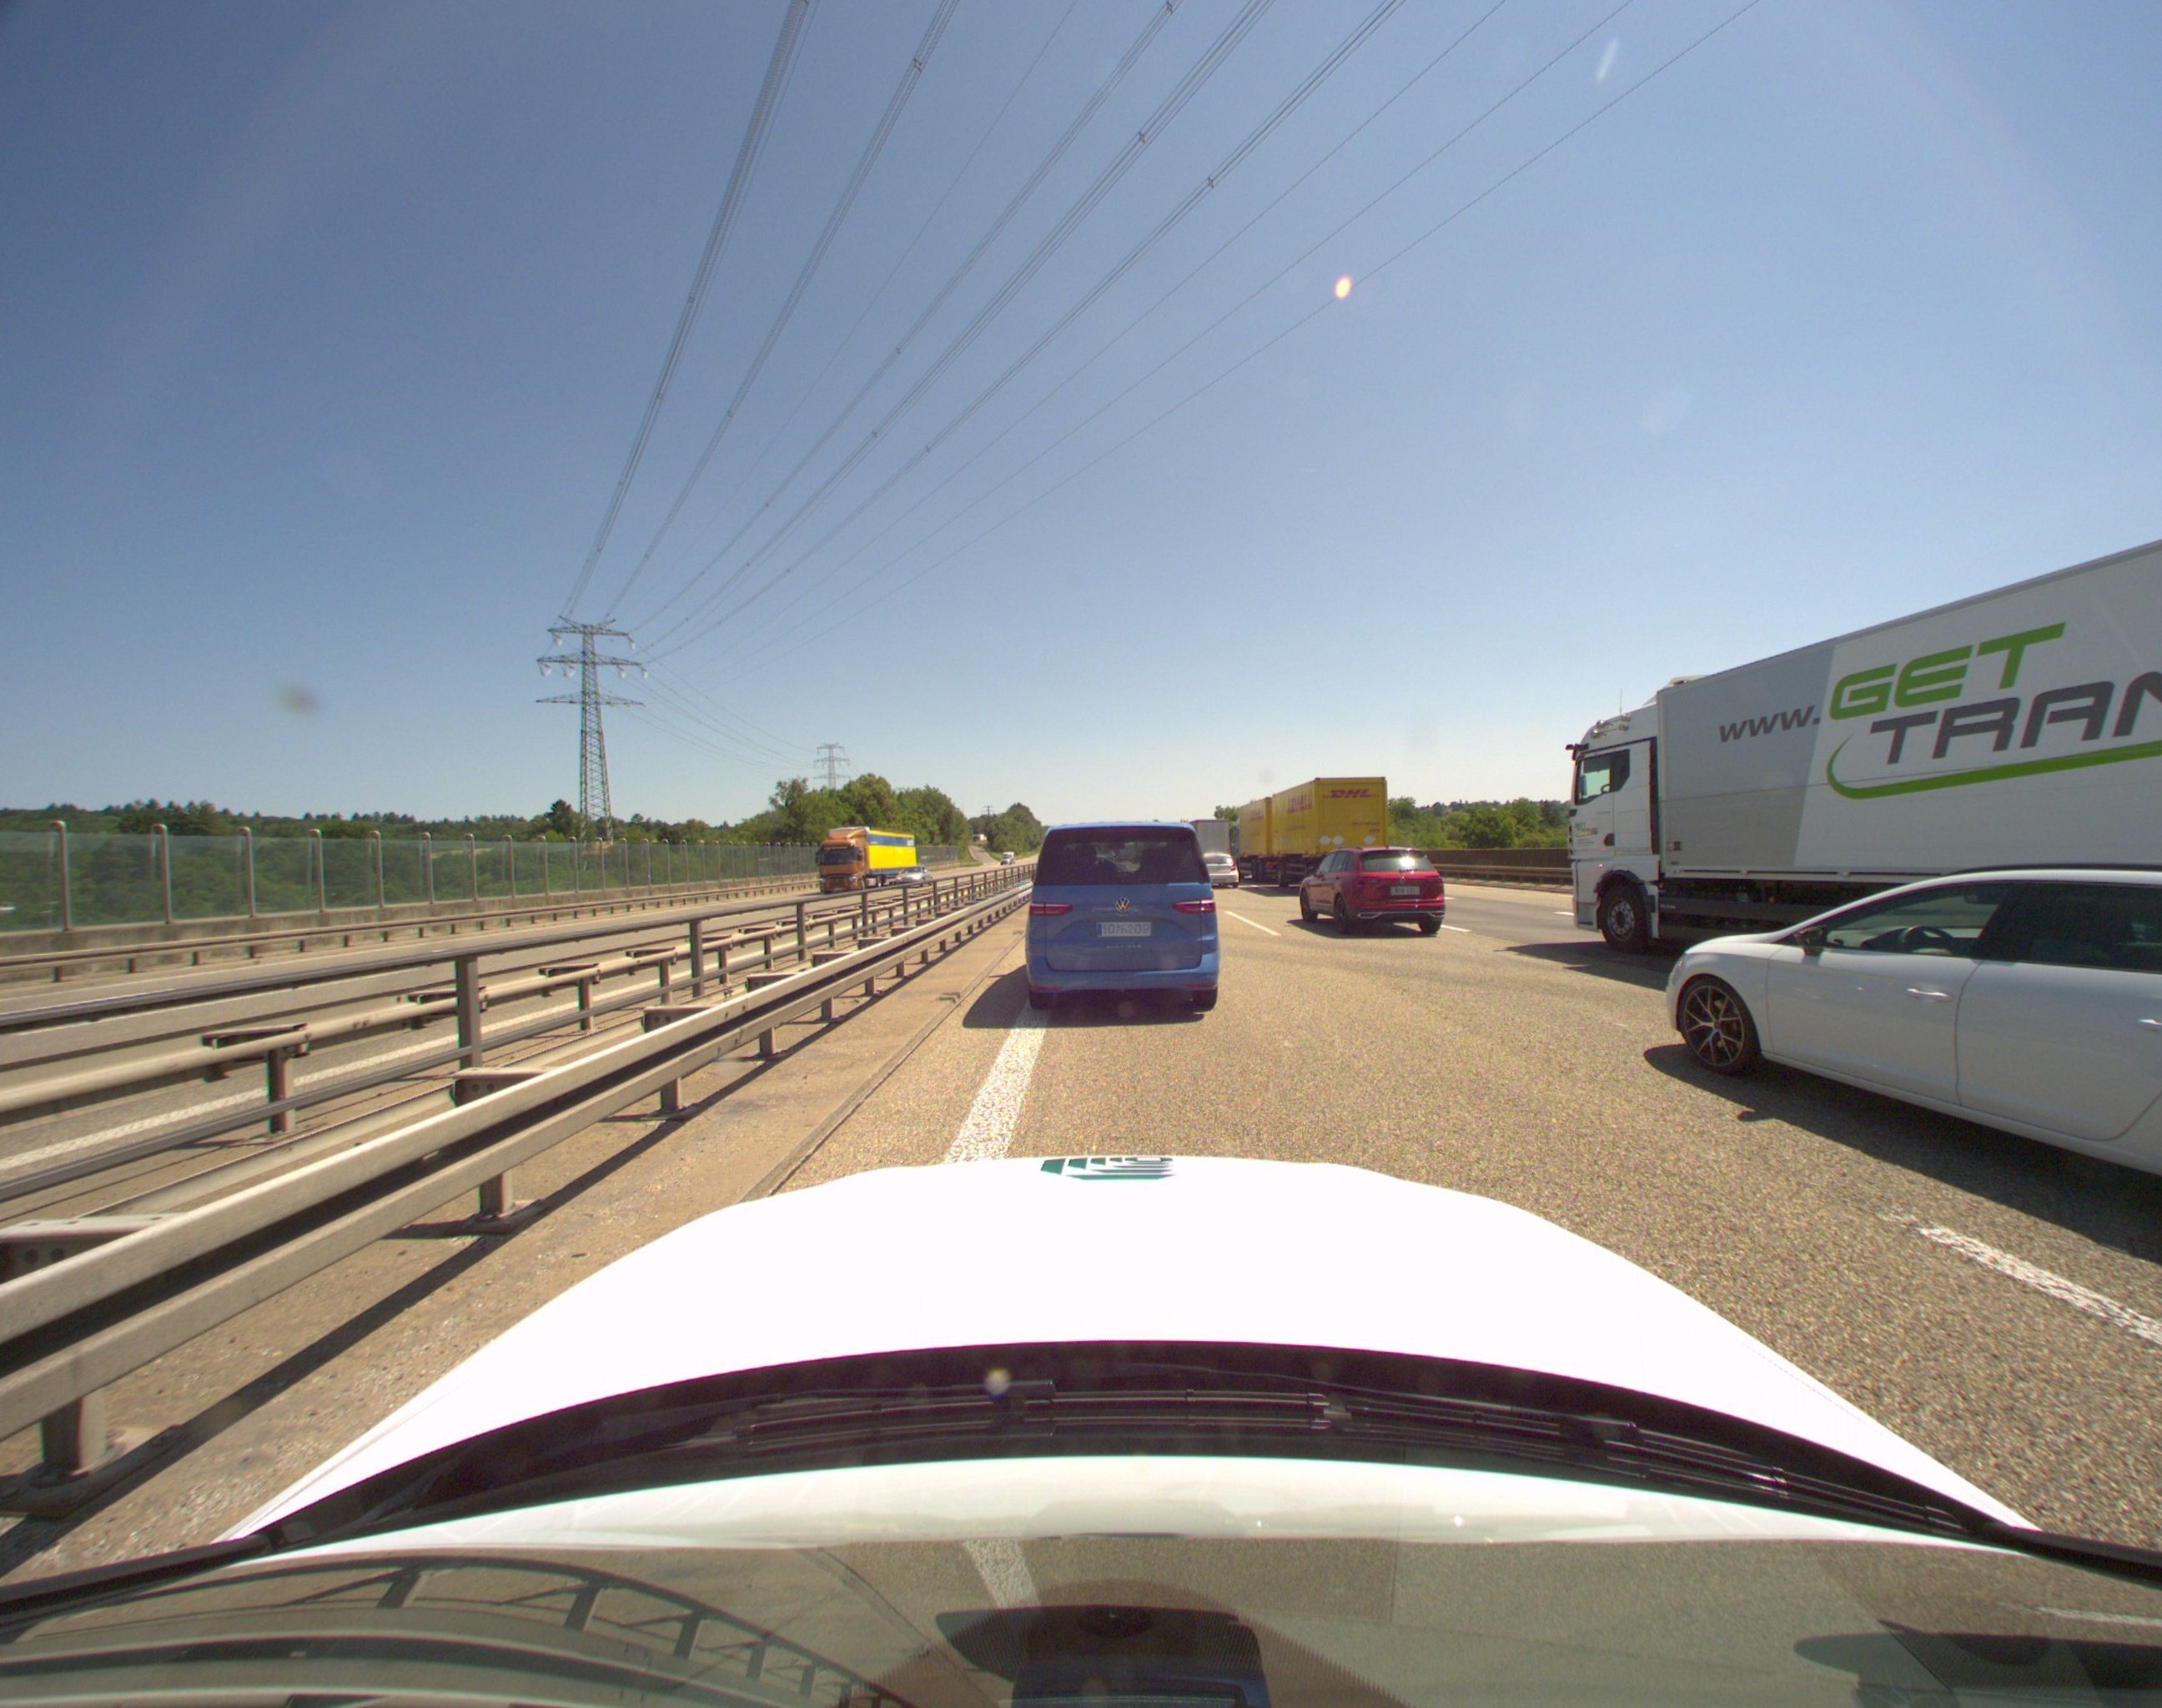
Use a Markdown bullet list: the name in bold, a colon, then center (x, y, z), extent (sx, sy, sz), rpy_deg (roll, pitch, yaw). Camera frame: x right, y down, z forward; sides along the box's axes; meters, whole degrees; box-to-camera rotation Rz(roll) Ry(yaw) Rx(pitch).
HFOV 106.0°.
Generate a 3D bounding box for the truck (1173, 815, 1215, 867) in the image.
- **truck**: center (10.527, -1.099, 76.703), extent (3.015, 4.611, 7.924), rpy_deg (-1, -1, 2)

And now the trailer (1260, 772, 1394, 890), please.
- **trailer**: center (9.490, -0.758, 32.645), extent (2.674, 4.088, 8.979), rpy_deg (0, -1, 0)

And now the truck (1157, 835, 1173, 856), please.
- **truck**: center (11.176, -1.090, 108.303), extent (1.790, 2.596, 4.307), rpy_deg (-1, -1, 2)

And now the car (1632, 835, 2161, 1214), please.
- **car**: center (5.005, 0.642, 3.983), extent (1.702, 1.451, 4.430), rpy_deg (-1, 0, 1)

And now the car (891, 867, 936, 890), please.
- **car**: center (-10.884, 1.566, 53.130), extent (1.681, 1.303, 4.017), rpy_deg (-4, -1, 5)

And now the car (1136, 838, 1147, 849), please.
- **car**: center (11.766, -2.095, 159.169), extent (1.986, 2.014, 4.001), rpy_deg (-1, -1, 2)

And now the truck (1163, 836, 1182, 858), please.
- **truck**: center (10.539, -0.773, 94.290), extent (1.791, 2.449, 4.506), rpy_deg (-1, -1, 2)

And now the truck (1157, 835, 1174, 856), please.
- **truck**: center (10.672, -1.044, 103.108), extent (1.735, 2.549, 4.211), rpy_deg (-1, -1, 2)

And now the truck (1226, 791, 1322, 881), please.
- **truck**: center (9.677, -0.758, 42.144), extent (2.690, 4.088, 9.939), rpy_deg (-1, -1, 1)

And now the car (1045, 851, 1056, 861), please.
- **car**: center (-5.719, 0.402, 154.859), extent (1.835, 1.751, 3.945), rpy_deg (-1, -1, 2)

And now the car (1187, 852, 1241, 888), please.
- **car**: center (5.786, 0.694, 35.833), extent (1.809, 1.470, 3.933), rpy_deg (-1, -1, 1)

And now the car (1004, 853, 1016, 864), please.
- **car**: center (-13.292, 0.836, 152.589), extent (1.835, 2.042, 3.945), rpy_deg (-1, -1, 2)

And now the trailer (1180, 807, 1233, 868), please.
- **trailer**: center (10.190, -1.196, 67.254), extent (3.015, 4.611, 10.929), rpy_deg (-1, -1, 2)

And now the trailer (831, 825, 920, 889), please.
- **trailer**: center (-14.723, 0.268, 59.885), extent (2.619, 4.114, 14.018), rpy_deg (-2, -1, 1)

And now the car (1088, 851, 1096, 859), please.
- **car**: center (2.871, 0.297, 207.416), extent (1.986, 2.014, 4.001), rpy_deg (-1, -1, 2)

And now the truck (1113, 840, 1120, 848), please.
- **truck**: center (11.211, -3.227, 258.385), extent (1.986, 2.585, 4.554), rpy_deg (-1, -1, 2)

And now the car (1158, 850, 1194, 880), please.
- **car**: center (5.654, 0.642, 48.763), extent (1.808, 1.679, 3.934), rpy_deg (-1, -1, 2)

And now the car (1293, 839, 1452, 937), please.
- **car**: center (5.651, 0.584, 16.384), extent (1.702, 1.679, 4.285), rpy_deg (-1, 0, 1)

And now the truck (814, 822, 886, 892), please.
- **truck**: center (-14.904, 0.207, 53.115), extent (2.662, 4.185, 6.288), rpy_deg (-2, -1, 1)

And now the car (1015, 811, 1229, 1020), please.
- **car**: center (0.424, 0.577, 9.372), extent (1.923, 1.874, 4.001), rpy_deg (-1, -1, 1)

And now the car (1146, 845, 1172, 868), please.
- **car**: center (6.611, 0.238, 69.545), extent (1.955, 1.936, 3.933), rpy_deg (-1, -1, 1)

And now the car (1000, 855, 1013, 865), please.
- **car**: center (-13.503, 1.090, 147.483), extent (1.835, 1.751, 3.945), rpy_deg (-1, -1, 2)

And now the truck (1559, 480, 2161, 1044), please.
- **truck**: center (9.002, -0.631, 7.755), extent (2.841, 3.934, 10.611), rpy_deg (-1, -1, 1)

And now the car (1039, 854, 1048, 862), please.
- **car**: center (-9.201, 0.952, 199.906), extent (1.835, 2.042, 3.945), rpy_deg (-1, -1, 2)
